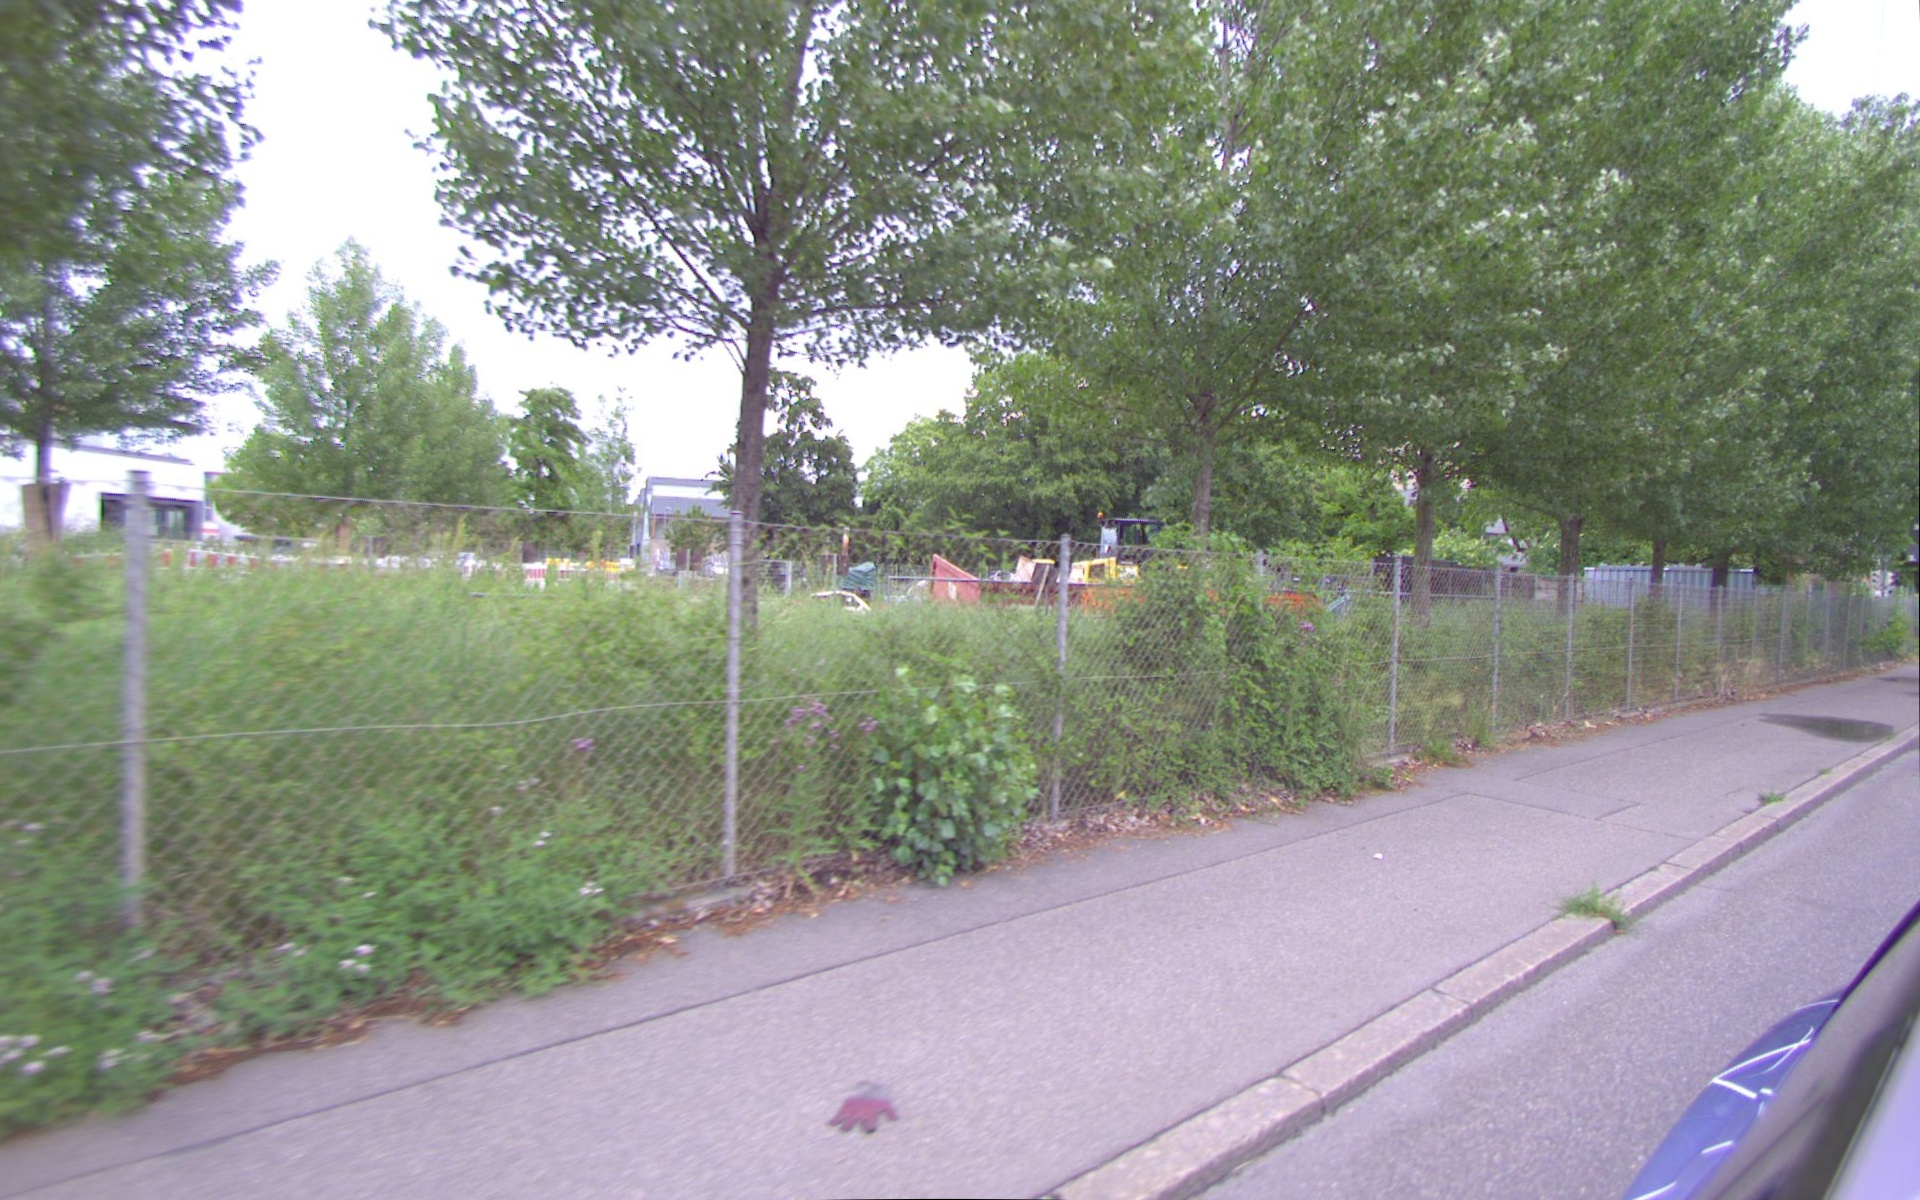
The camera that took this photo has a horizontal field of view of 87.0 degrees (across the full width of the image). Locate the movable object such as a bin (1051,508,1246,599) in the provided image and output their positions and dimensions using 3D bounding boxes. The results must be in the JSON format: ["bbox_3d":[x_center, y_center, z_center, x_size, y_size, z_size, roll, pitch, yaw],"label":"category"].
[{"bbox_3d":[4.578,-1.170,24.704,4.205,2.037,2.005,-2,4,-16],"label":"movable object such as a bin"}]
